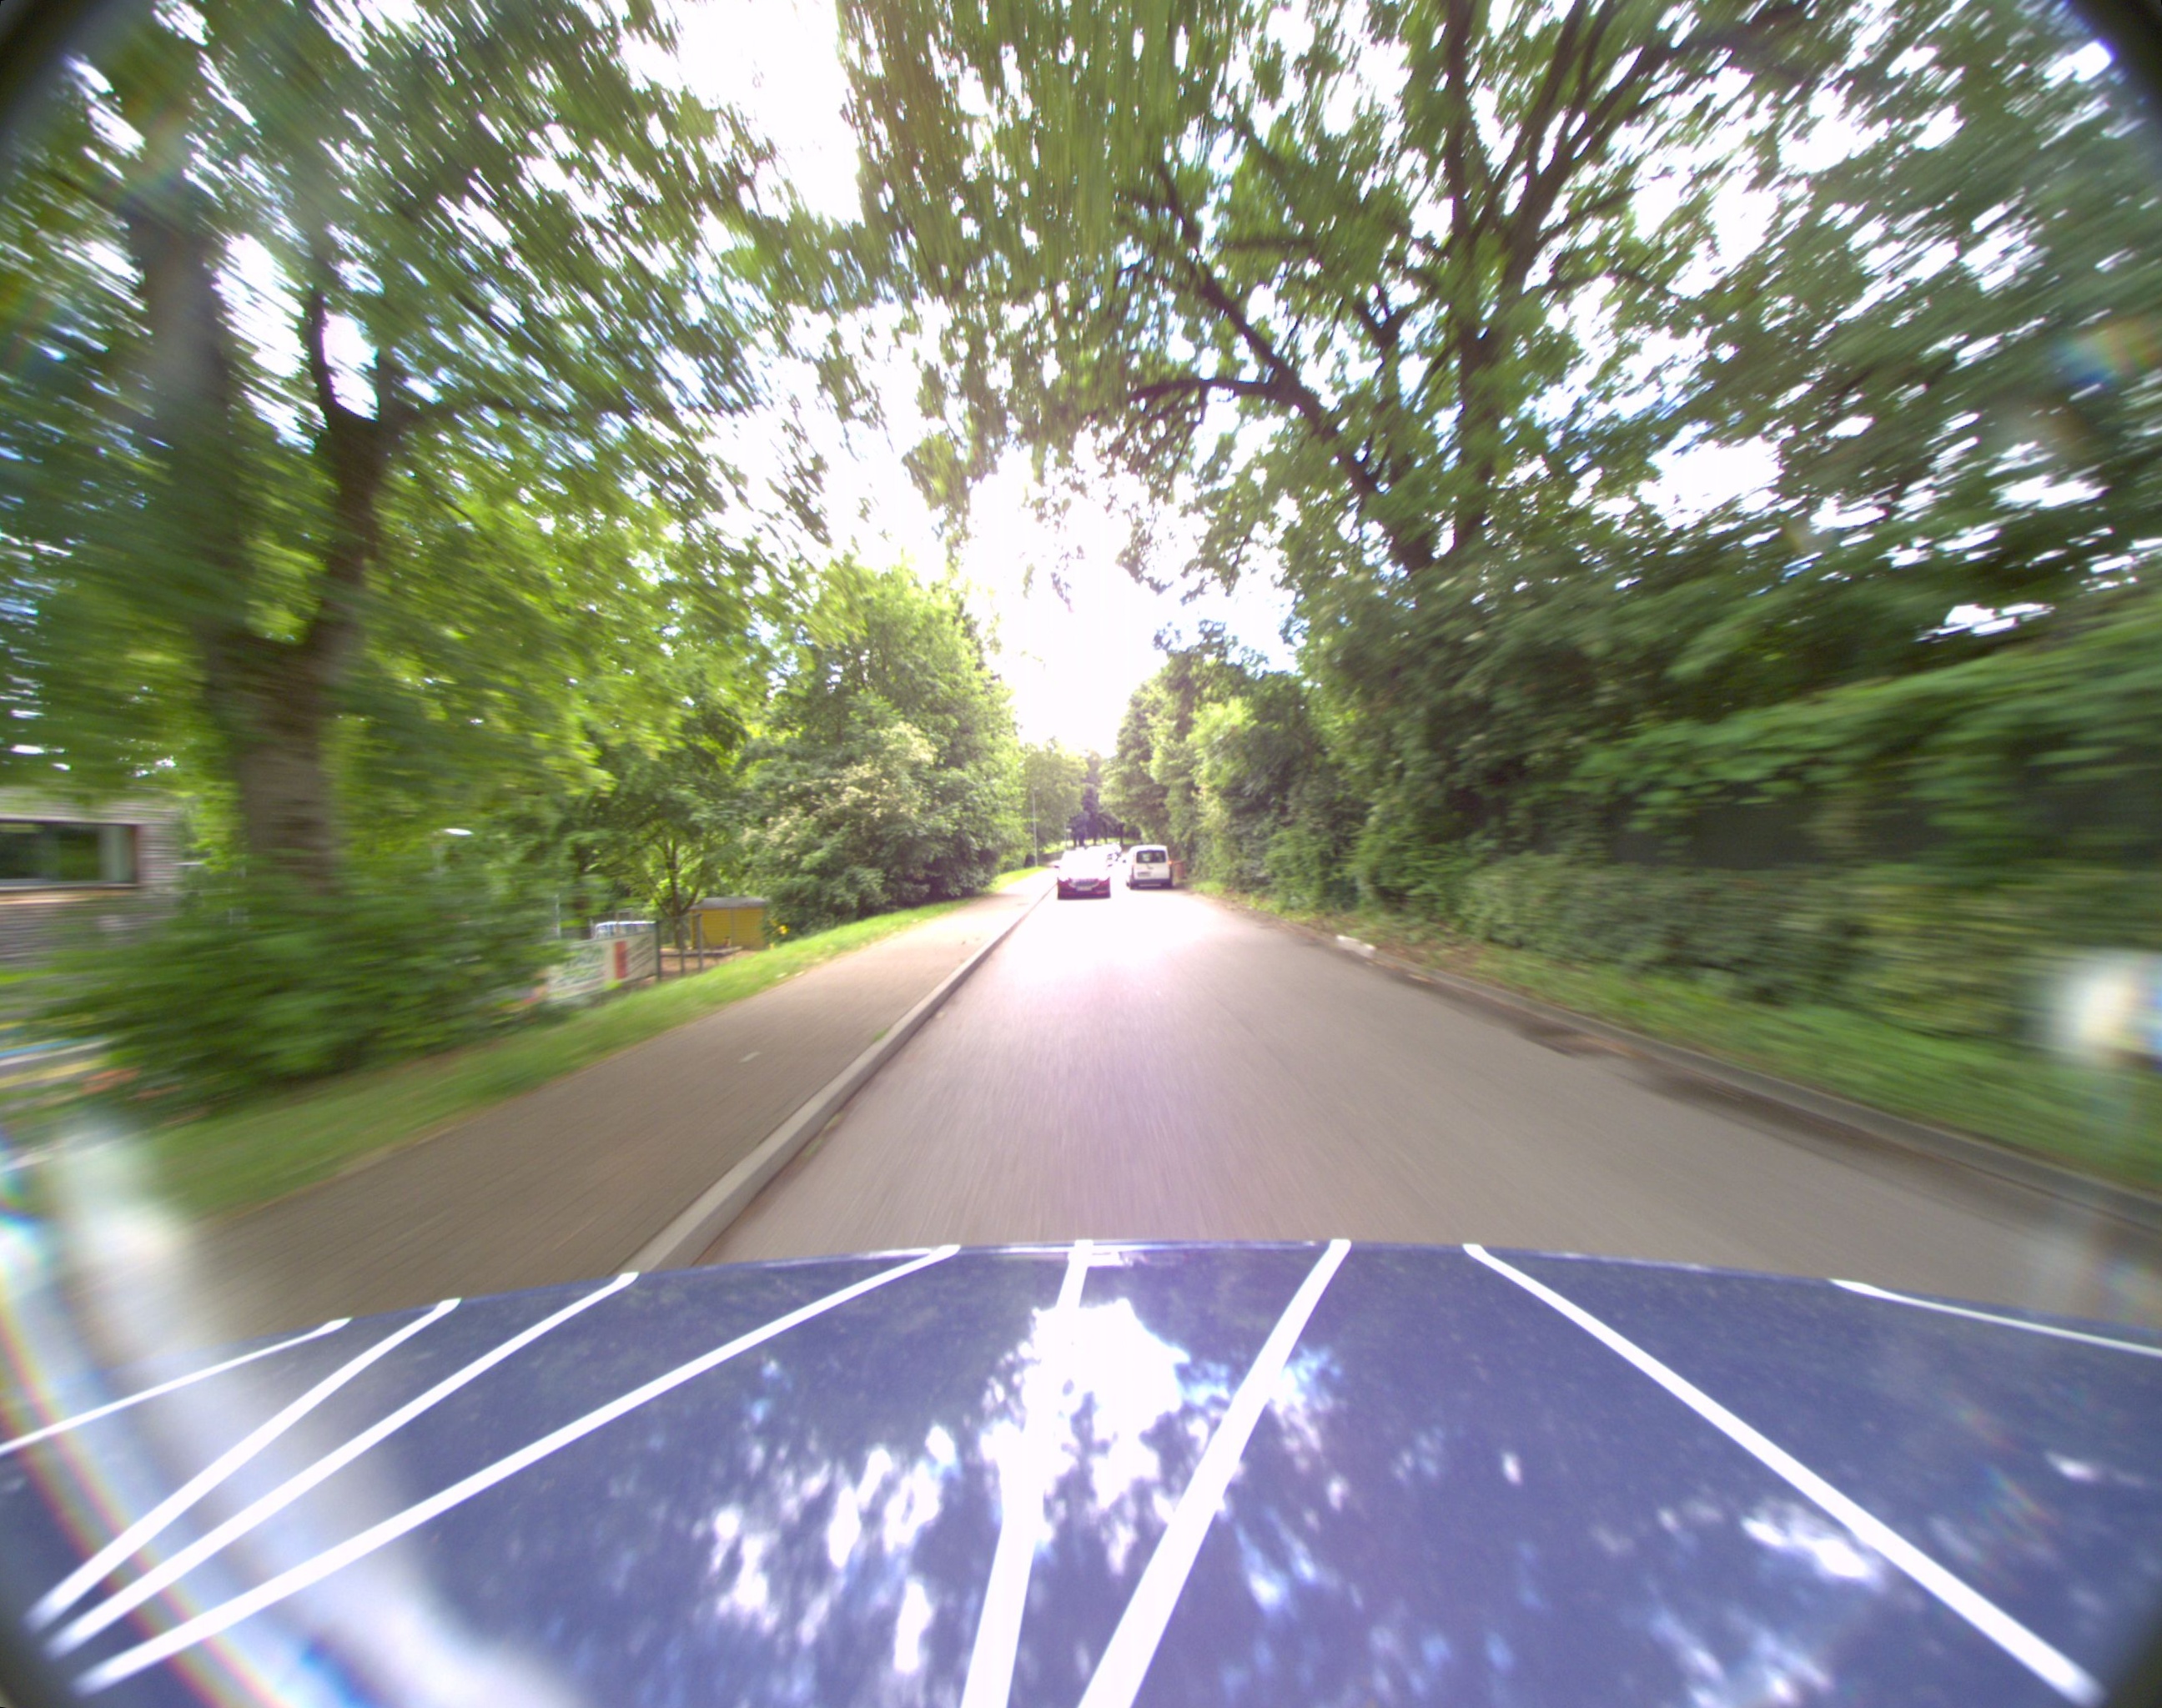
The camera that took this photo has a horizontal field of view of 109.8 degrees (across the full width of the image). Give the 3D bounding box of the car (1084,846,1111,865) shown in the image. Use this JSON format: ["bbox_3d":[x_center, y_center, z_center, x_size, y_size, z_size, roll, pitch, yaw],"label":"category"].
[{"bbox_3d":[1.423,0.090,64.433,1.998,1.521,4.001,-1,1,6],"label":"car"}]

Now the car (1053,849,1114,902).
[{"bbox_3d":[0.156,0.703,27.549,1.816,1.718,4.001,0,2,6],"label":"car"}]

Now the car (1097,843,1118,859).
[{"bbox_3d":[2.814,-0.364,79.688,1.998,1.521,4.001,-1,1,6],"label":"car"}]

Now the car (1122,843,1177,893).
[{"bbox_3d":[2.848,0.529,32.501,1.878,1.903,4.430,-1,1,0],"label":"car"}]

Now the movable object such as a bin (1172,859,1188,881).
[{"bbox_3d":[4.685,0.732,35.870,0.649,1.007,0.632,-1,2,16],"label":"movable object such as a bin"}]

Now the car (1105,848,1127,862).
[{"bbox_3d":[4.483,0.112,96.051,1.996,1.521,4.003,-1,1,13],"label":"car"}]
